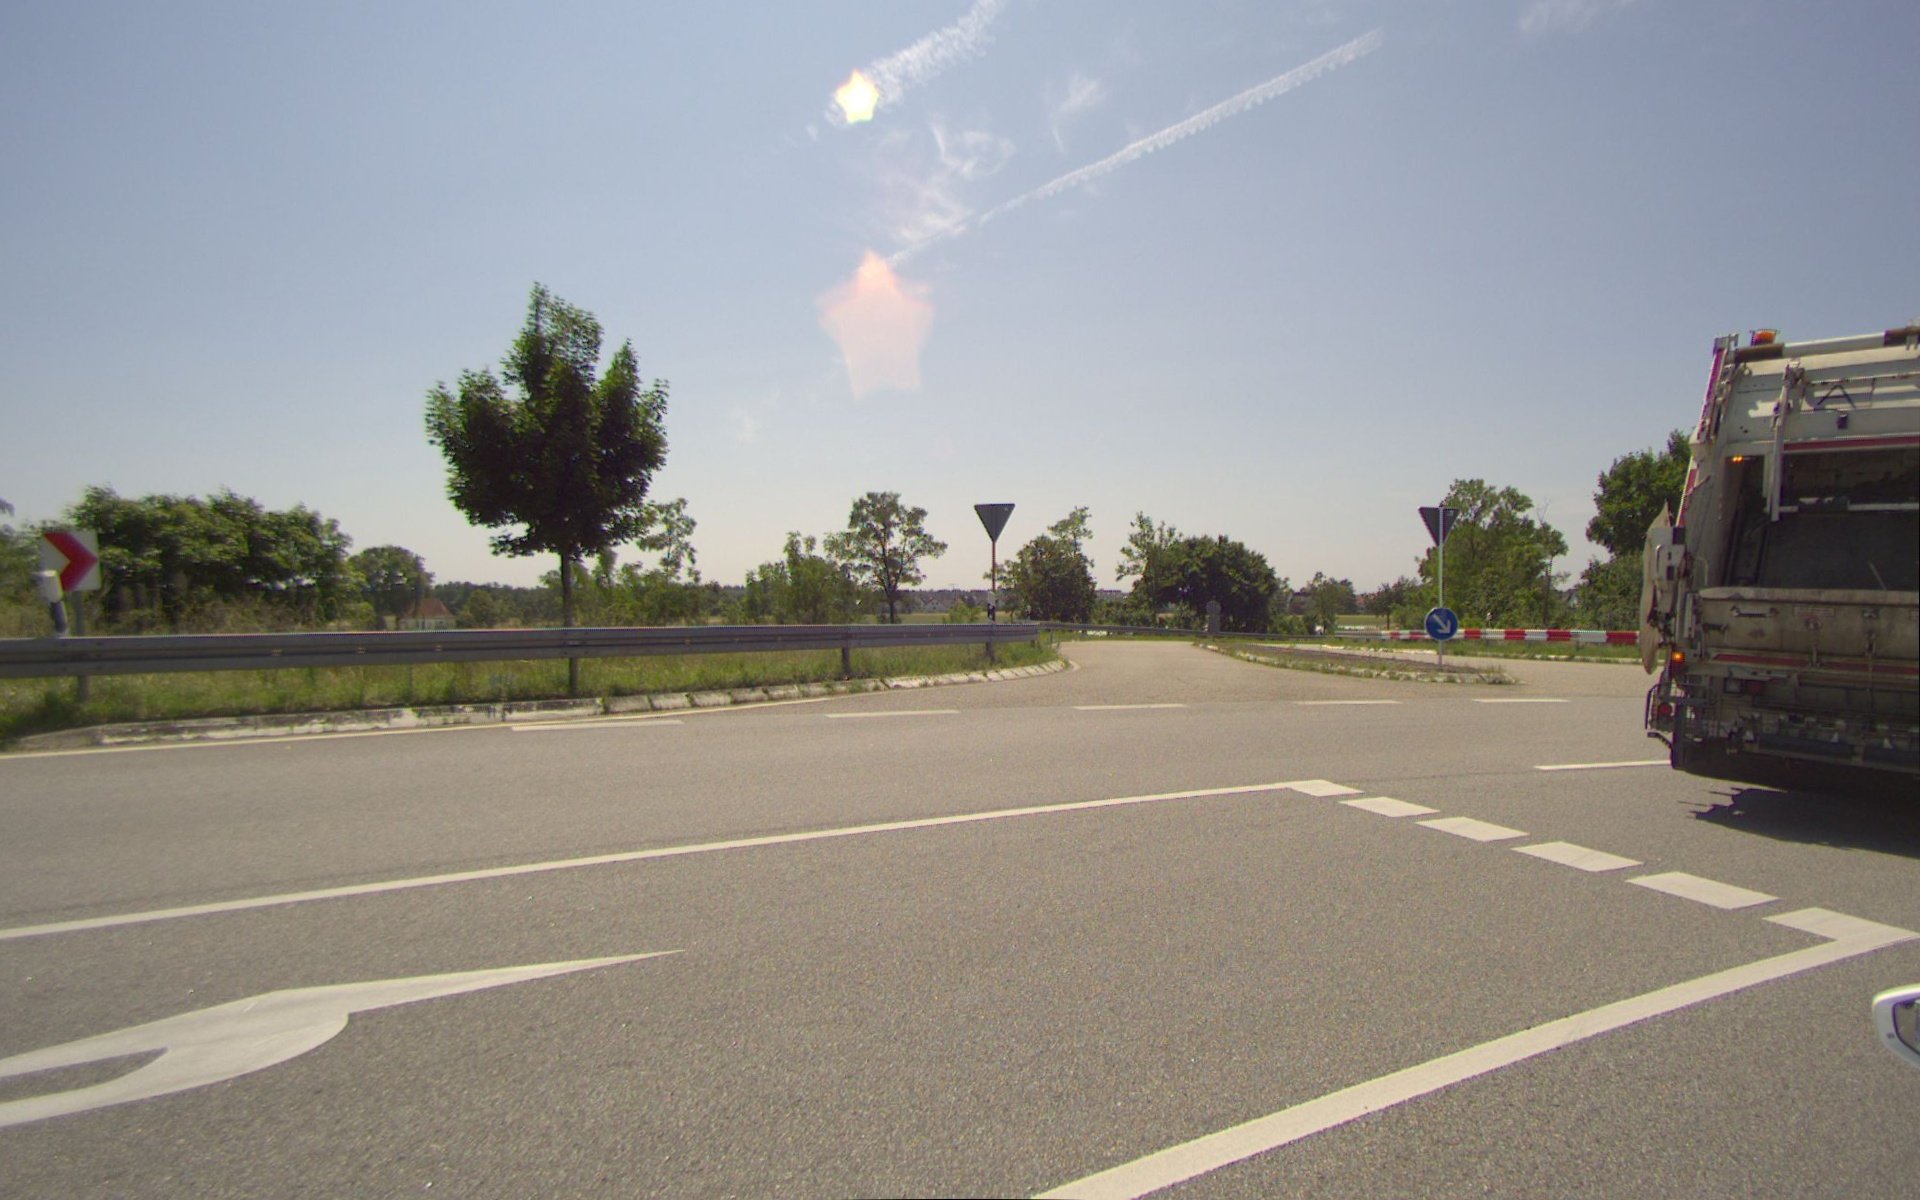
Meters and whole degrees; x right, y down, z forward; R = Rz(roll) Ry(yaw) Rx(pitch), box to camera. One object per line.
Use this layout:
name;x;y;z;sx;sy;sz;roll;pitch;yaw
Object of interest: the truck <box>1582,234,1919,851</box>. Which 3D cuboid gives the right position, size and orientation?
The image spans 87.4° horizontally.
truck;9.267;-0.378;9.604;9.869;3.719;2.788;0;2;-41
